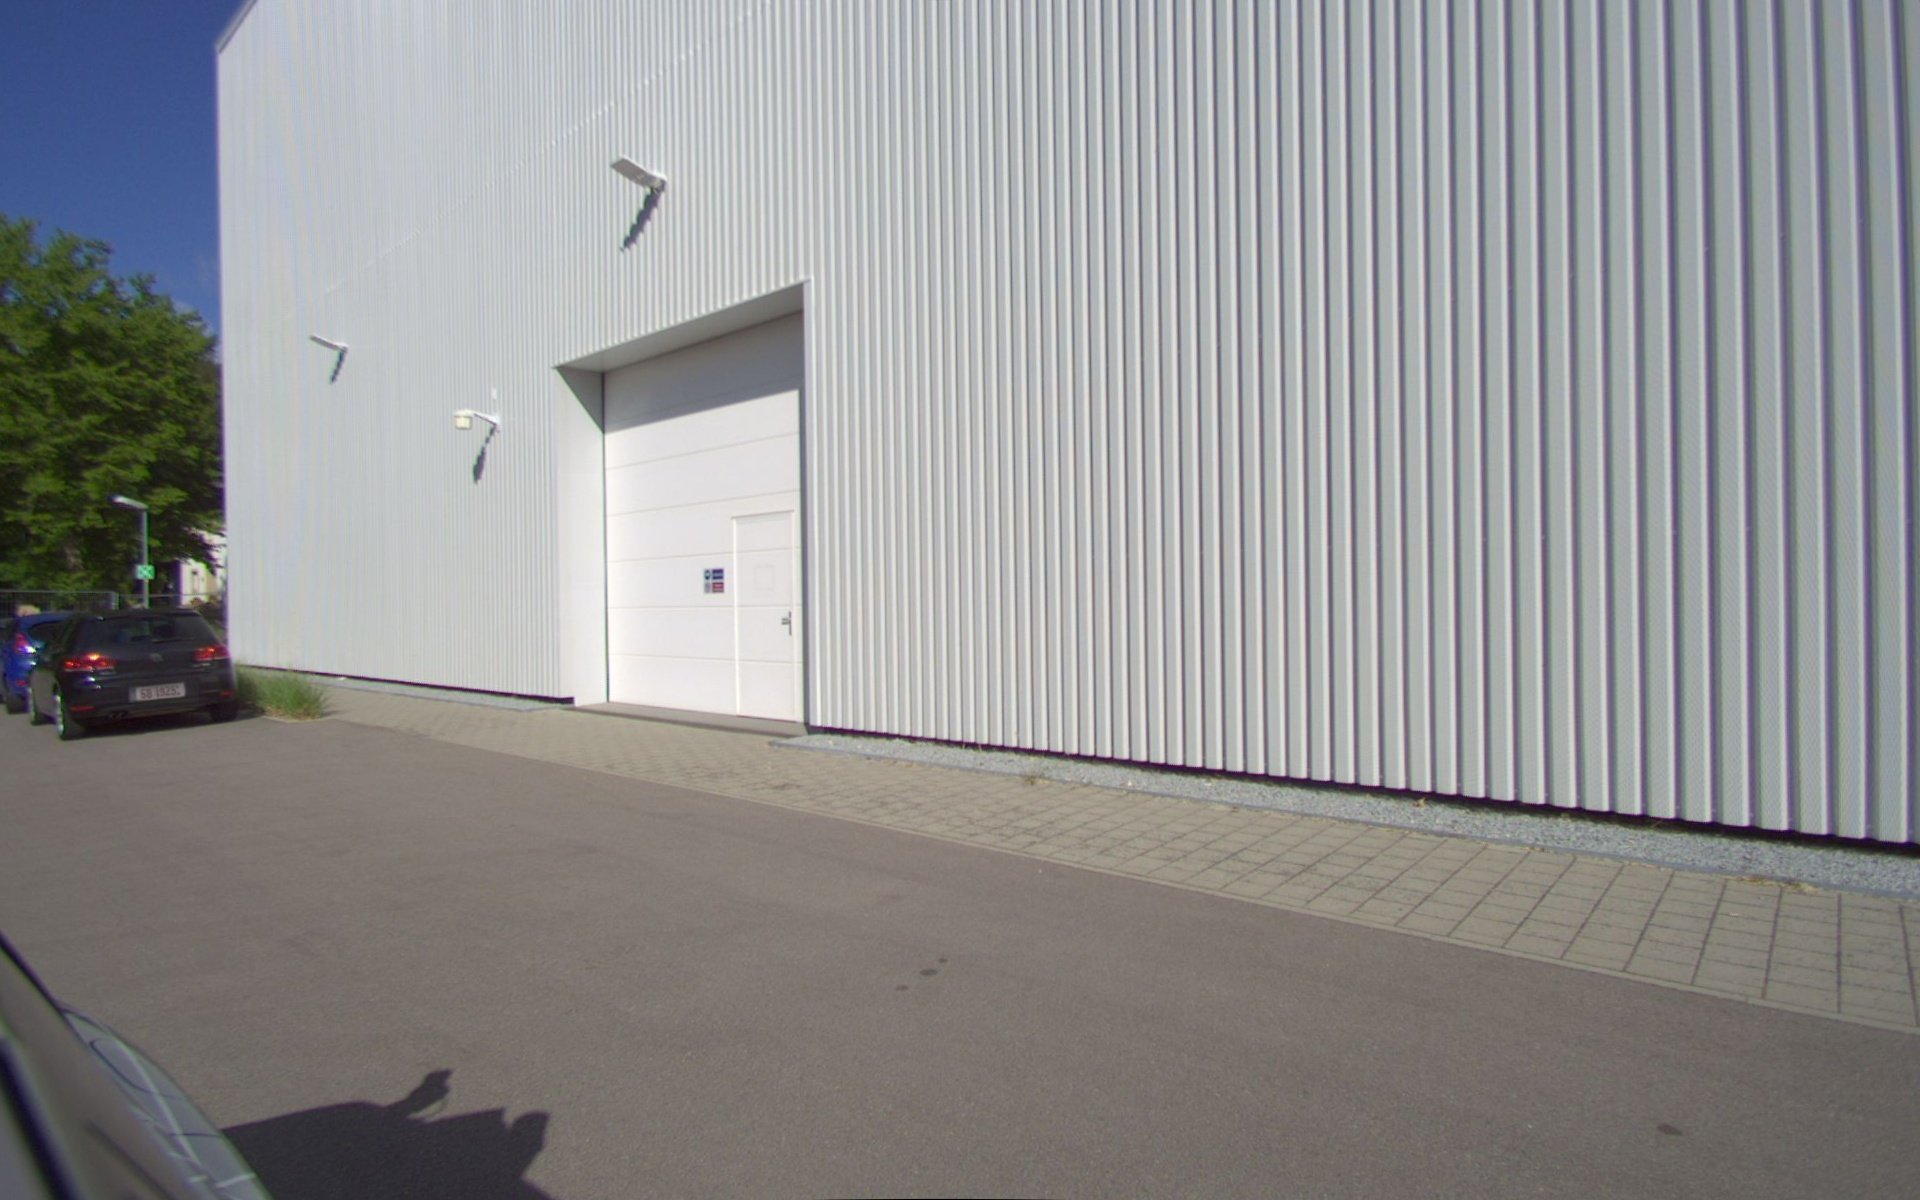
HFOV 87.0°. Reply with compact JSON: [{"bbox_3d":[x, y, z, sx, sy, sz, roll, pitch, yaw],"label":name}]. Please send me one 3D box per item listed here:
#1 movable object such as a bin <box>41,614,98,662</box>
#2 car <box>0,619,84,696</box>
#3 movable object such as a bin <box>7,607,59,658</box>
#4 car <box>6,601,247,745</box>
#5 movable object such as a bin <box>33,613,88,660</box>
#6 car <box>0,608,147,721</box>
[{"bbox_3d":[-28.454,1.202,32.328,1.228,1.443,1.080,0,2,36],"label":"movable object such as a bin"},{"bbox_3d":[-18.748,1.086,19.871,4.051,1.371,1.756,-1,0,41],"label":"car"},{"bbox_3d":[-31.211,1.070,34.077,1.228,1.609,1.080,1,1,36],"label":"movable object such as a bin"},{"bbox_3d":[-10.909,0.828,13.135,4.292,1.511,1.736,-1,1,42],"label":"car"},{"bbox_3d":[-29.480,1.186,33.180,1.228,1.450,1.080,0,2,36],"label":"movable object such as a bin"},{"bbox_3d":[-14.640,0.948,16.300,4.092,1.511,1.614,-1,2,40],"label":"car"}]
